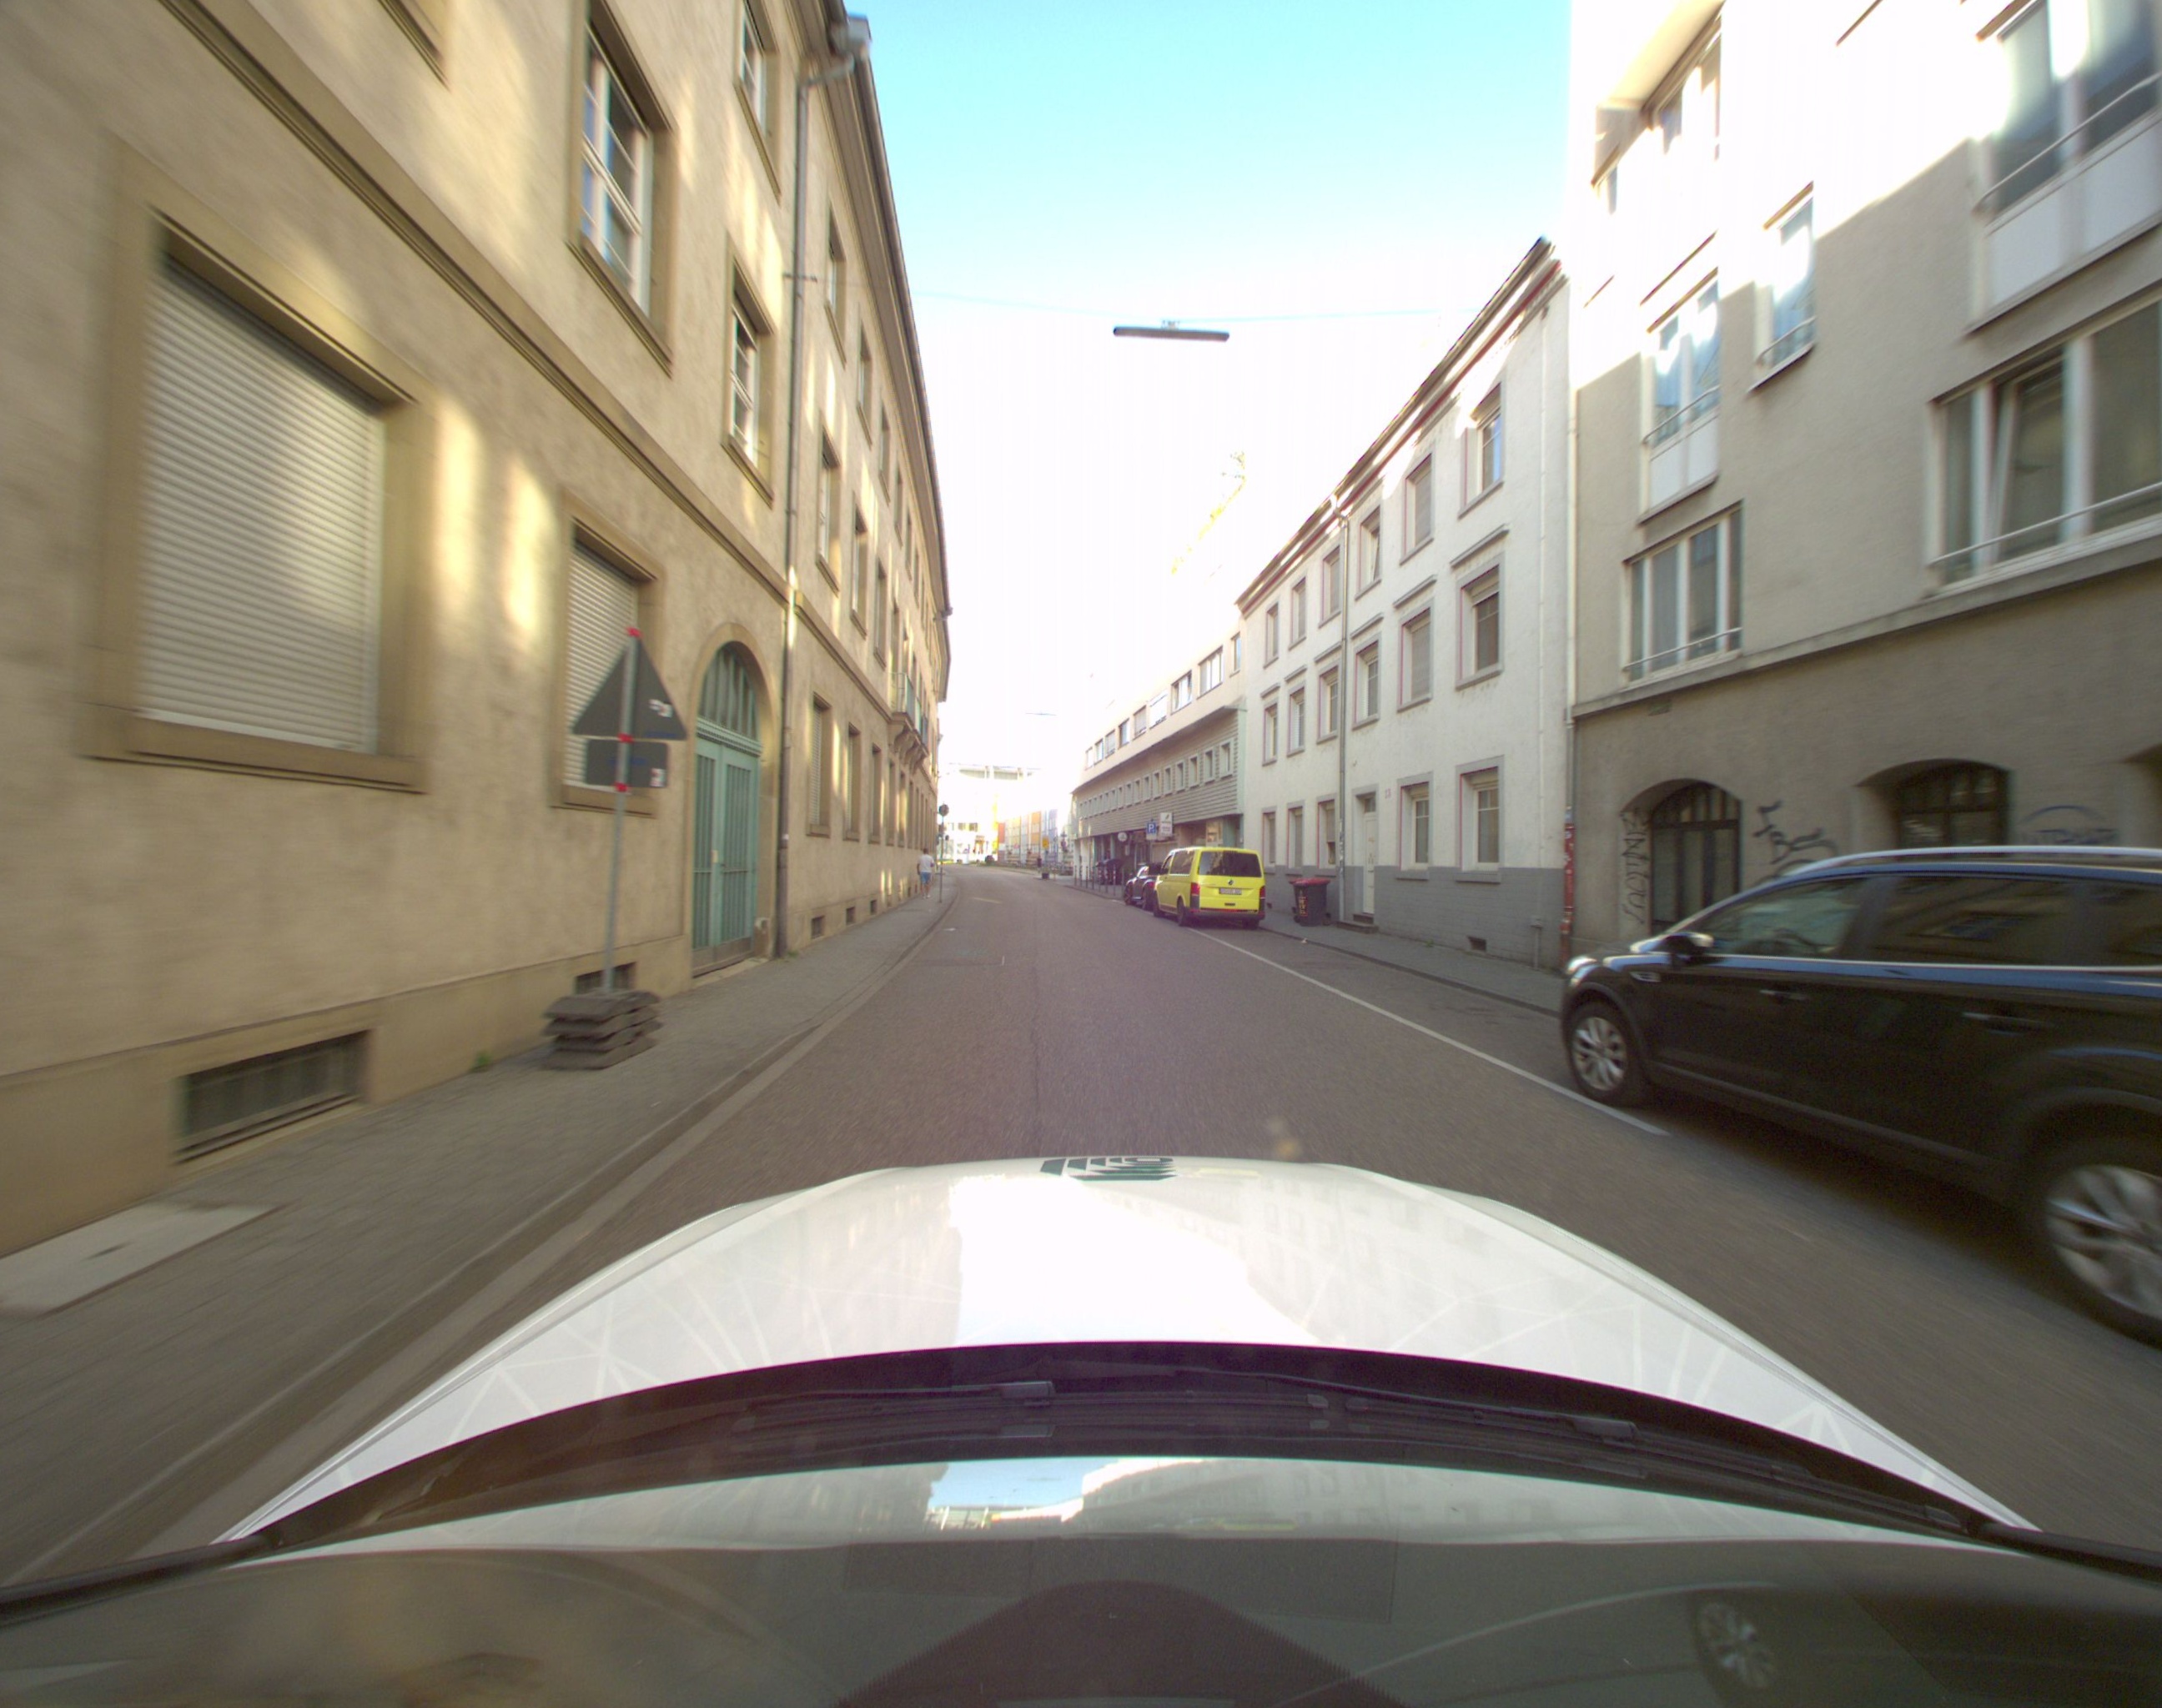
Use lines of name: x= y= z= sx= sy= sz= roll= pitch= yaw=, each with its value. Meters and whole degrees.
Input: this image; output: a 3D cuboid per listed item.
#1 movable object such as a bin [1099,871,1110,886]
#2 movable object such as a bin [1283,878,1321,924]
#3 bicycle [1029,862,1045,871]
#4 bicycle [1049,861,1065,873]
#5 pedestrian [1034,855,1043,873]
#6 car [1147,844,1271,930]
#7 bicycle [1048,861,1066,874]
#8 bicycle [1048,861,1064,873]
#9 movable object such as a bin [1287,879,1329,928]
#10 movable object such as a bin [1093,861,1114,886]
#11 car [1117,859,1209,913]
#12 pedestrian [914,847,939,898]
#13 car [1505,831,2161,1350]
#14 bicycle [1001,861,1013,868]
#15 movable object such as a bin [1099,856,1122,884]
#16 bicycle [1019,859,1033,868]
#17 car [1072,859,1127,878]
movable object such as a bin: x=1.389 y=1.429 z=47.493 sx=0.556 sy=0.899 sz=0.521 roll=0 pitch=-3 yaw=-9
movable object such as a bin: x=5.362 y=1.131 z=19.770 sx=0.606 sy=1.051 sz=0.706 roll=-4 pitch=0 yaw=-8
bicycle: x=-5.068 y=1.456 z=94.156 sx=1.749 sy=0.946 sz=0.549 roll=0 pitch=-1 yaw=-12
bicycle: x=-2.402 y=1.320 z=81.972 sx=1.646 sy=1.141 sz=0.281 roll=-2 pitch=0 yaw=-20
pedestrian: x=-4.171 y=0.948 z=80.608 sx=0.697 sy=1.760 sz=1.184 roll=-1 pitch=0 yaw=-11
car: x=3.074 y=0.744 z=20.720 sx=1.881 sy=1.882 sz=4.834 roll=2 pitch=0 yaw=-6
bicycle: x=-2.369 y=1.321 z=80.542 sx=1.749 sy=1.141 sz=0.550 roll=-2 pitch=0 yaw=-12
bicycle: x=-2.485 y=1.323 z=82.234 sx=1.607 sy=1.141 sz=0.236 roll=-2 pitch=0 yaw=-20
movable object such as a bin: x=5.282 y=1.142 z=18.959 sx=0.626 sy=1.051 sz=0.706 roll=-4 pitch=0 yaw=-11
movable object such as a bin: x=1.280 y=1.124 z=46.472 sx=0.981 sy=1.385 sz=1.316 roll=0 pitch=-3 yaw=-9
car: x=2.510 y=0.955 z=26.036 sx=1.882 sy=1.489 sz=4.355 roll=2 pitch=0 yaw=-9
pedestrian: x=-5.287 y=0.634 z=27.837 sx=0.692 sy=1.670 sz=0.873 roll=3 pitch=-1 yaw=-7
car: x=4.328 y=0.791 z=4.199 sx=1.820 sy=1.654 sz=4.490 roll=2 pitch=0 yaw=-2
bicycle: x=-11.356 y=1.604 z=124.292 sx=1.757 sy=1.004 sz=0.610 roll=0 pitch=-1 yaw=-17
movable object such as a bin: x=1.625 y=0.889 z=44.981 sx=0.981 sy=1.480 sz=1.546 roll=0 pitch=-3 yaw=-9
bicycle: x=-7.434 y=1.290 z=110.772 sx=1.812 sy=1.137 sz=0.549 roll=1 pitch=-1 yaw=-13
car: x=1.422 y=1.142 z=64.924 sx=4.080 sy=1.482 sz=1.858 roll=1 pitch=-1 yaw=-12
